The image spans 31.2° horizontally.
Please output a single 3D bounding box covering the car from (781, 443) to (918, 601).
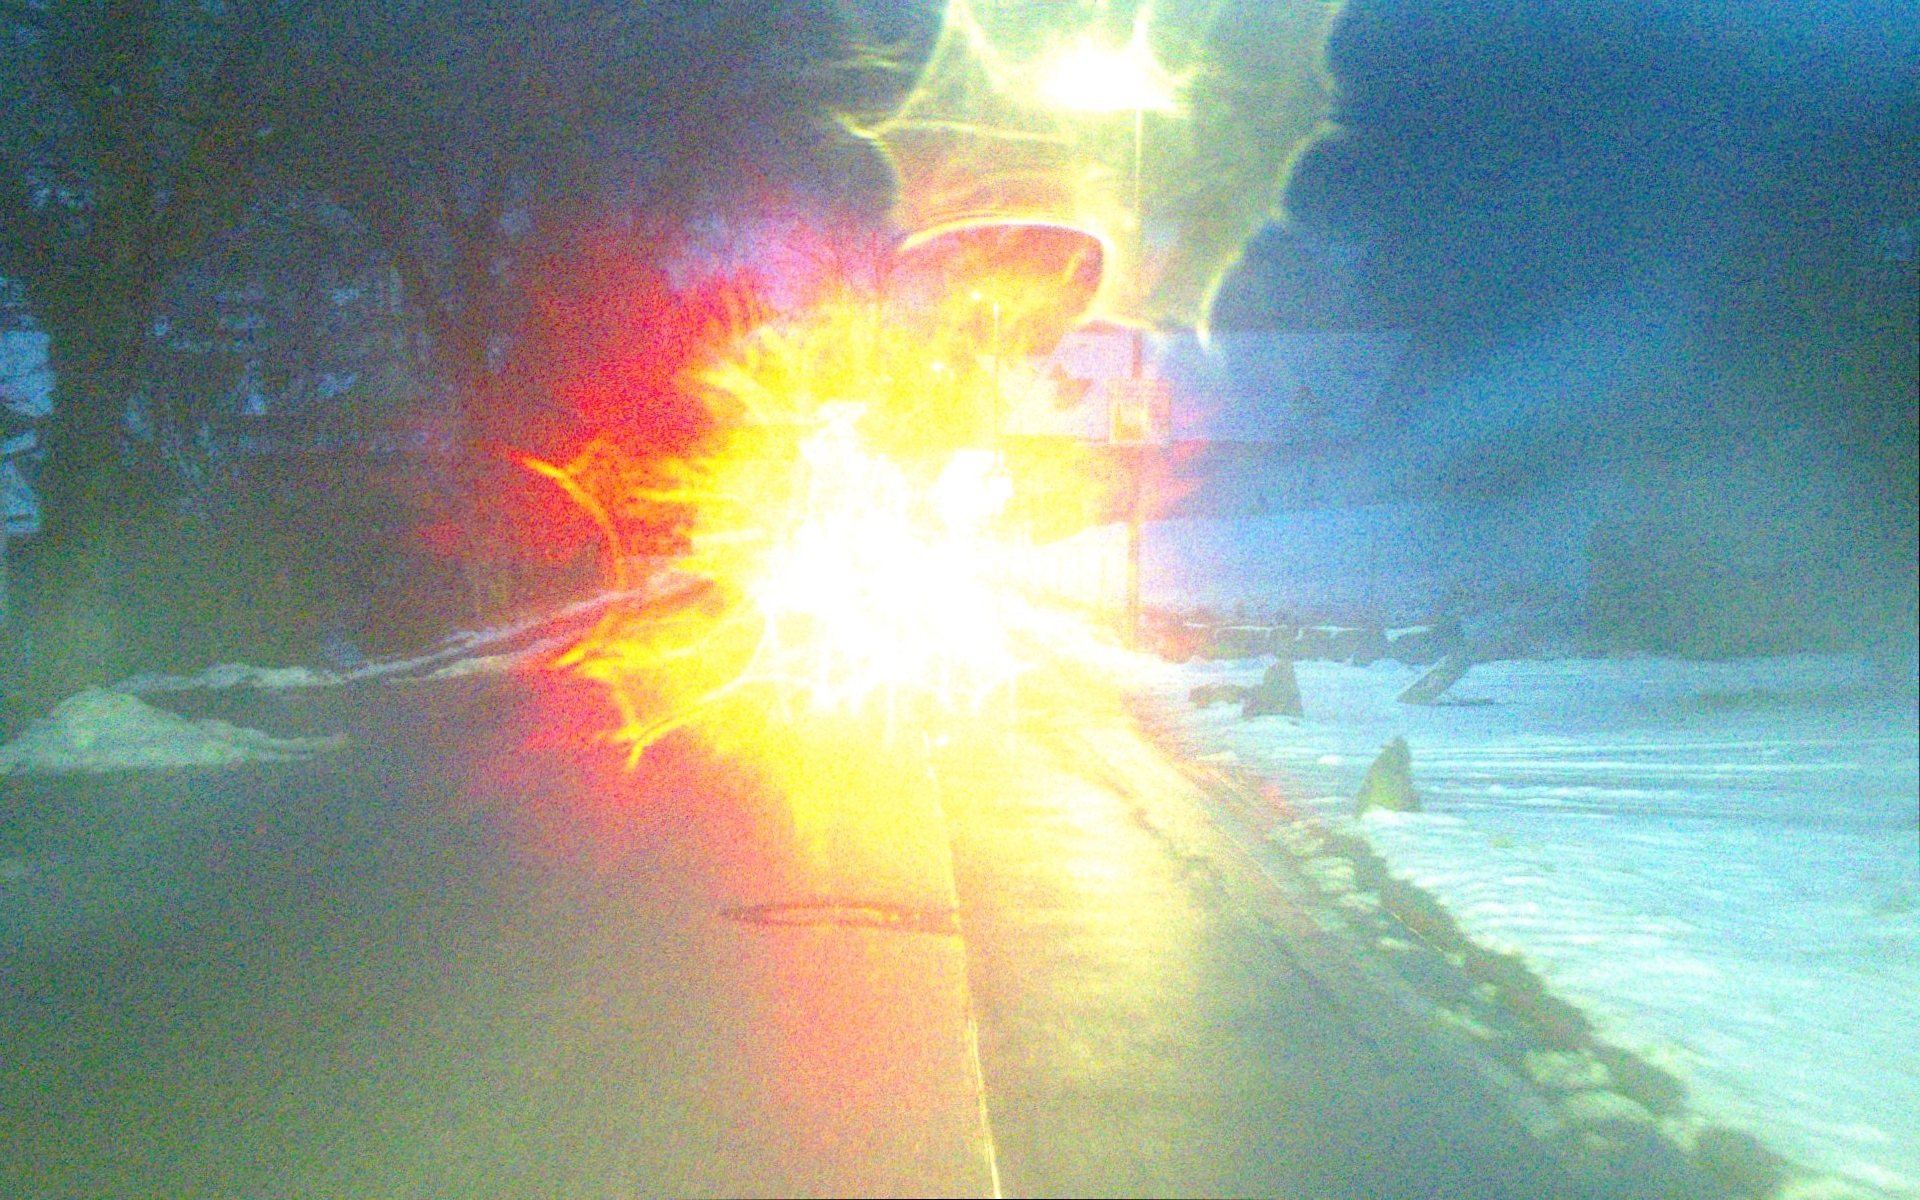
[{"bbox_3d":[-2.157,-1.506,68.810,2.435,3.008,5.325,-1,0,1],"label":"car"}]

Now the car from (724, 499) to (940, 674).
[{"bbox_3d":[-1.403,-0.195,39.013,2.274,1.834,5.007,-1,1,-1],"label":"car"}]
